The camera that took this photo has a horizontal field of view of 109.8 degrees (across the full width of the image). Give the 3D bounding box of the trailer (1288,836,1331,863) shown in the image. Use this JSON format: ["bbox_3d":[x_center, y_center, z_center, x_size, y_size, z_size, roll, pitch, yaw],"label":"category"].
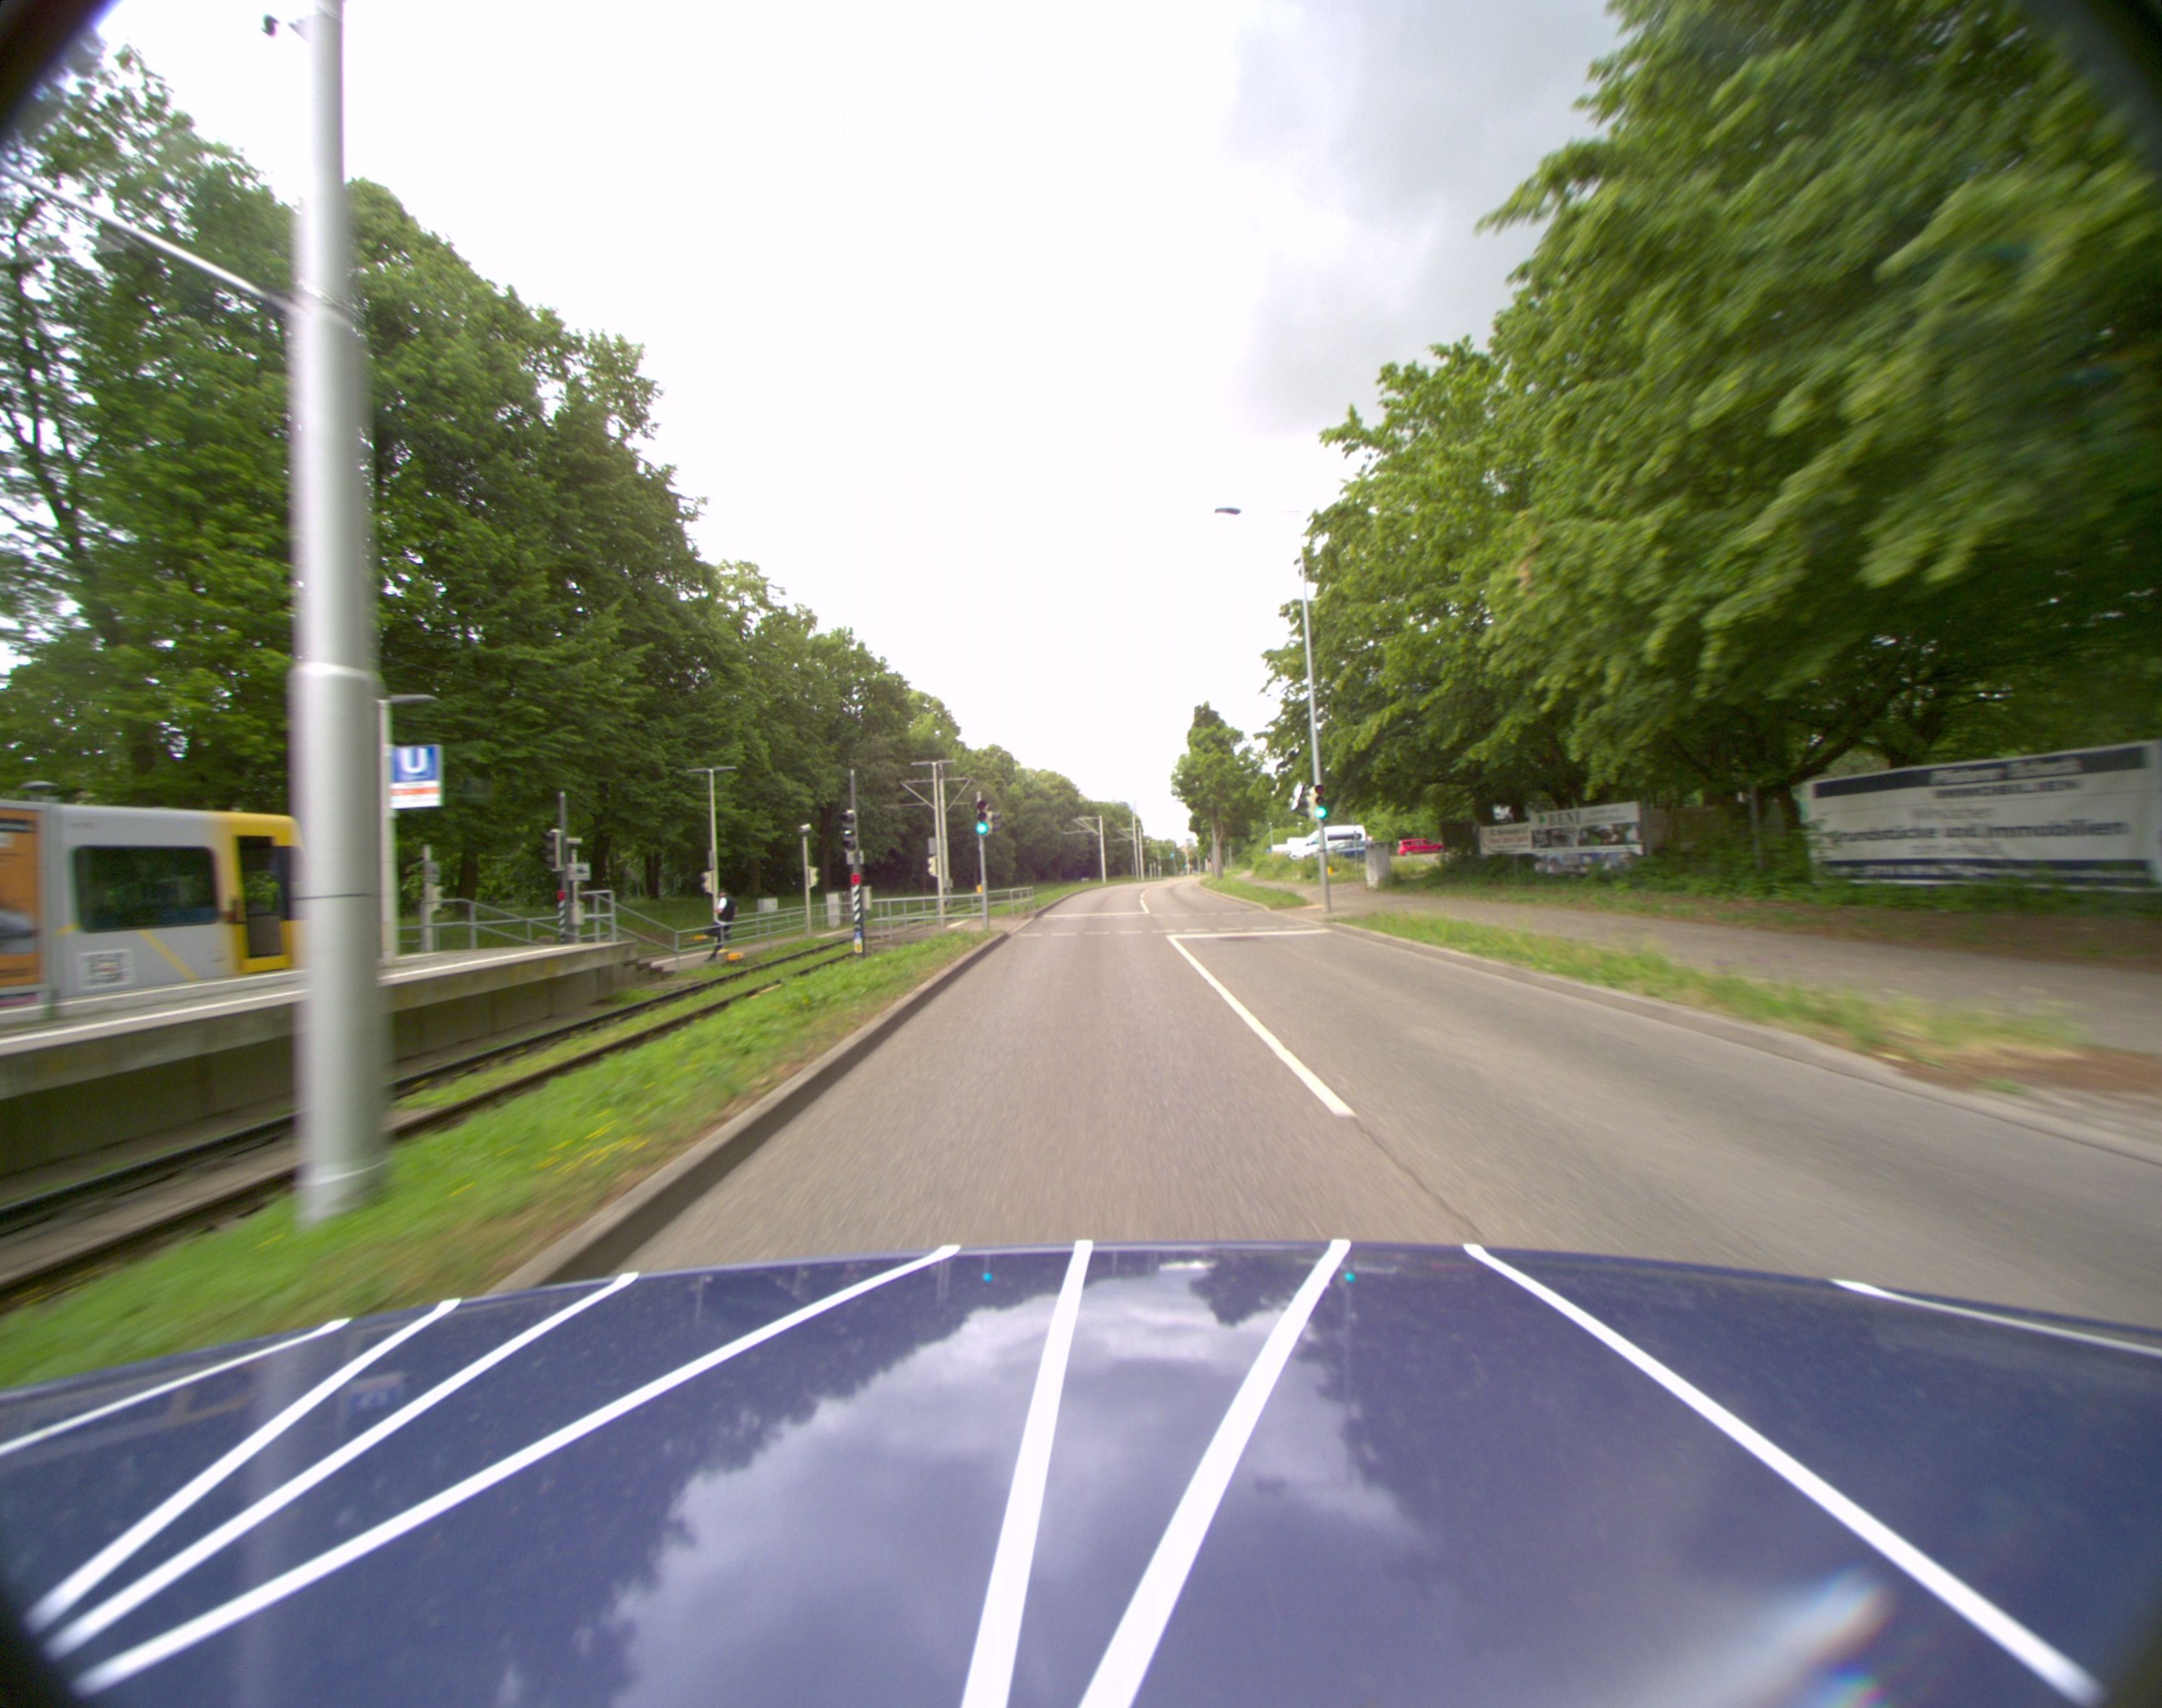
[{"bbox_3d":[19.387,-0.394,64.564,3.371,2.045,1.680,-3,-1,14],"label":"trailer"}]

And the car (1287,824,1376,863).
[{"bbox_3d":[16.461,-0.635,50.241,5.165,2.093,2.217,-4,-2,10],"label":"car"}]

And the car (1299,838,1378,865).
[{"bbox_3d":[15.904,-0.138,47.090,4.385,1.308,1.564,-4,-2,10],"label":"car"}]

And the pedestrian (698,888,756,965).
[{"bbox_3d":[-8.642,1.753,18.577,0.987,1.747,0.729,-4,-1,-6],"label":"pedestrian"}]

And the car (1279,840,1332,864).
[{"bbox_3d":[18.345,-0.148,62.226,4.040,1.574,2.003,-5,-2,14],"label":"car"}]

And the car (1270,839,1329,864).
[{"bbox_3d":[16.050,-0.165,56.007,4.040,1.538,2.003,-5,-2,14],"label":"car"}]

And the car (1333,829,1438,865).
[{"bbox_3d":[17.200,-0.367,43.124,5.165,1.552,1.888,-4,-2,10],"label":"car"}]

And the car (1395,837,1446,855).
[{"bbox_3d":[32.275,-0.739,72.334,4.107,1.408,1.904,-5,-2,14],"label":"car"}]

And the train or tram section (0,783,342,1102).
[{"bbox_3d":[-14.401,1.112,3.391,2.820,3.714,18.537,-4,0,4],"label":"train or tram section"}]

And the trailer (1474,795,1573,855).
[{"bbox_3d":[26.157,-1.618,45.334,2.653,3.056,7.201,-5,0,11],"label":"trailer"}]
